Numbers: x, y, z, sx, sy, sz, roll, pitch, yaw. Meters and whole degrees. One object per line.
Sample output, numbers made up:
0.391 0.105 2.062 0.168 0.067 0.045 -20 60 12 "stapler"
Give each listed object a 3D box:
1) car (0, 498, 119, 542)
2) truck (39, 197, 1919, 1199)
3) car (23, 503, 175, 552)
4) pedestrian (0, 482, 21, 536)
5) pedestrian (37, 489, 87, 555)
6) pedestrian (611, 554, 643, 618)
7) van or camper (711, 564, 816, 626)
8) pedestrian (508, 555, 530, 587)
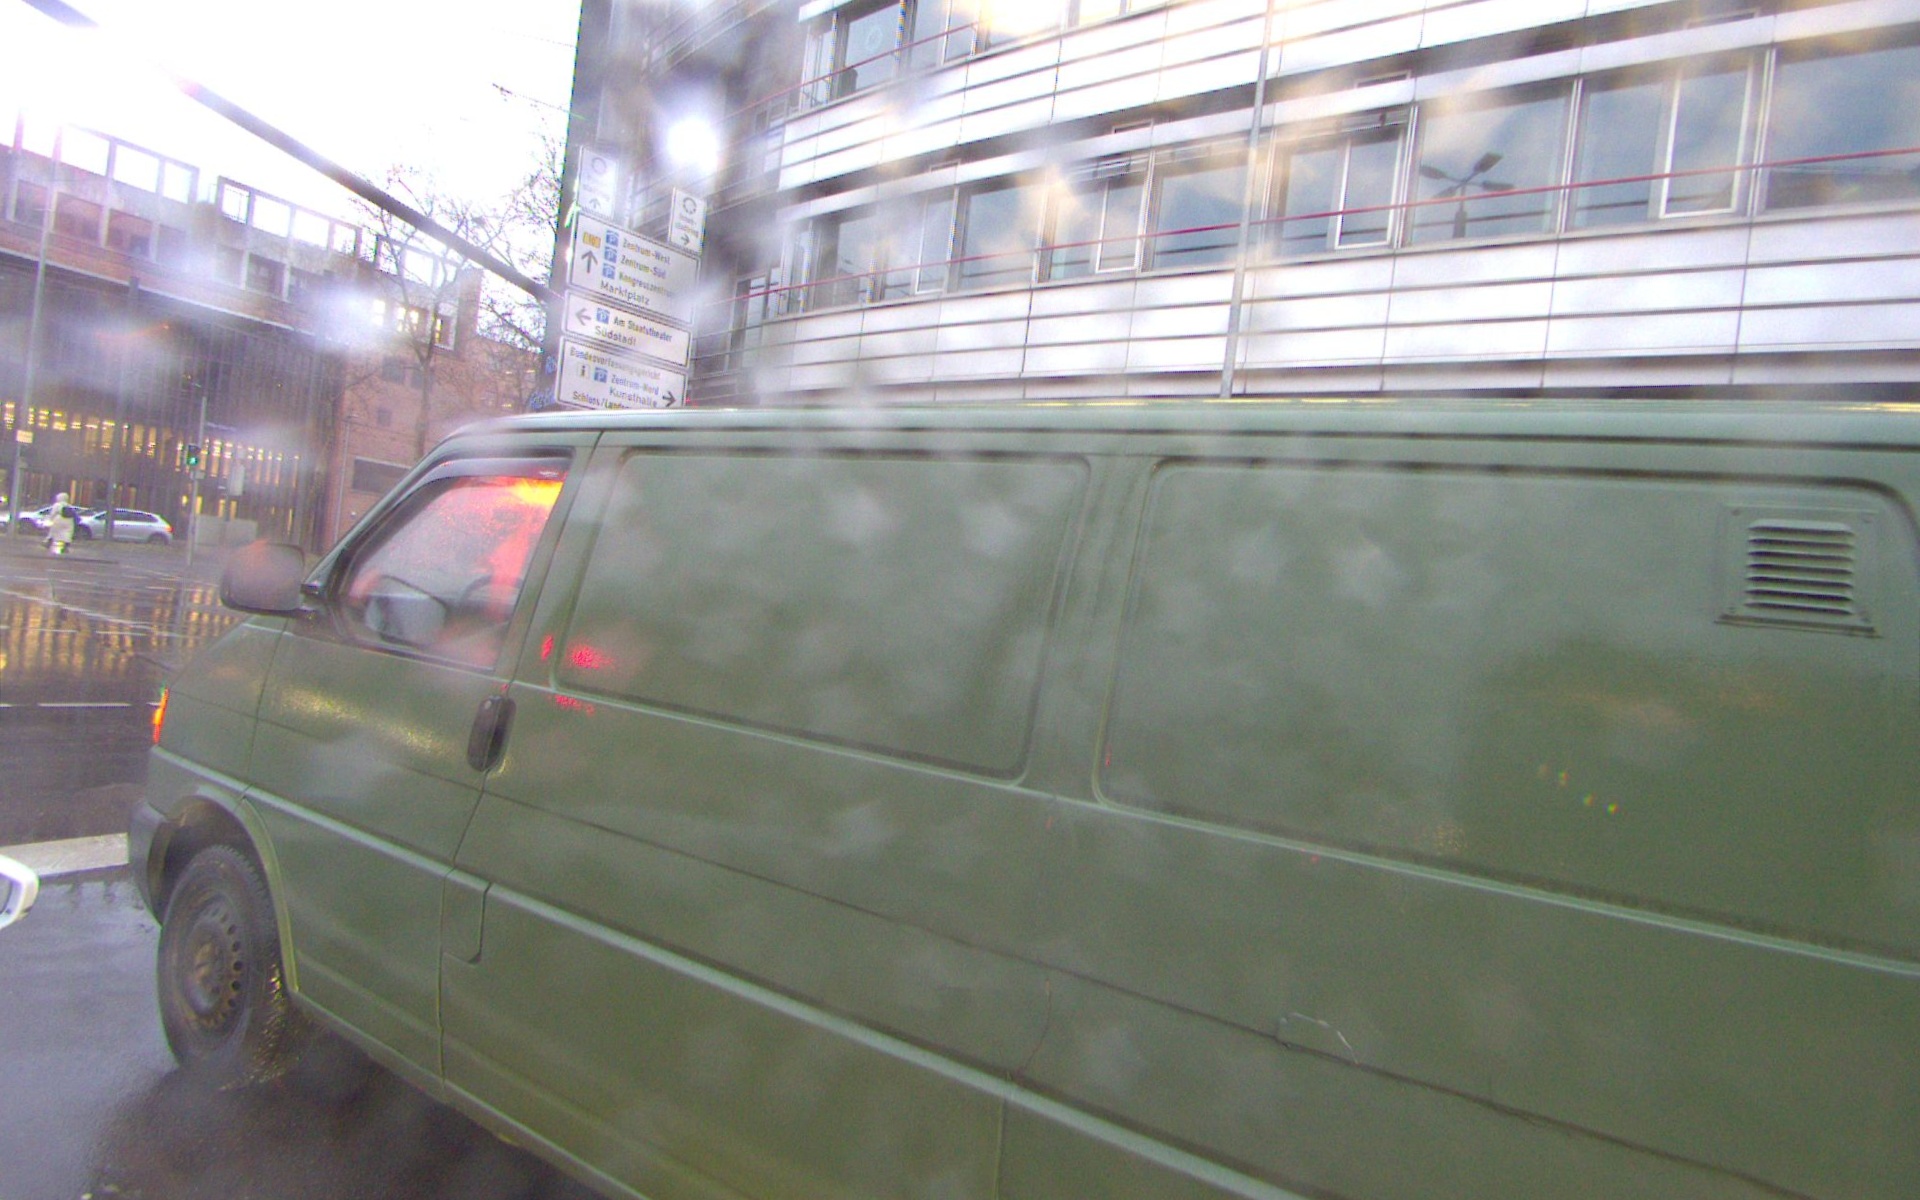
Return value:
-39.673 -3.506 43.977 1.781 1.326 3.993 7 -1 23 "car"
-0.312 0.484 2.751 4.540 1.939 1.908 7 -2 31 "truck"
-32.686 -2.726 38.310 1.782 1.358 3.989 7 1 24 "car"
-34.134 -3.268 35.486 0.763 1.809 1.152 7 1 22 "pedestrian"
-26.617 -2.308 29.828 0.721 1.809 0.736 7 1 18 "pedestrian"
-10.001 -0.427 30.248 0.640 1.833 0.798 6 1 -12 "pedestrian"
-7.556 -0.134 39.252 1.807 1.952 4.750 7 -1 17 "van or camper"
-19.678 -1.293 44.919 0.470 1.381 0.606 7 1 30 "pedestrian"
